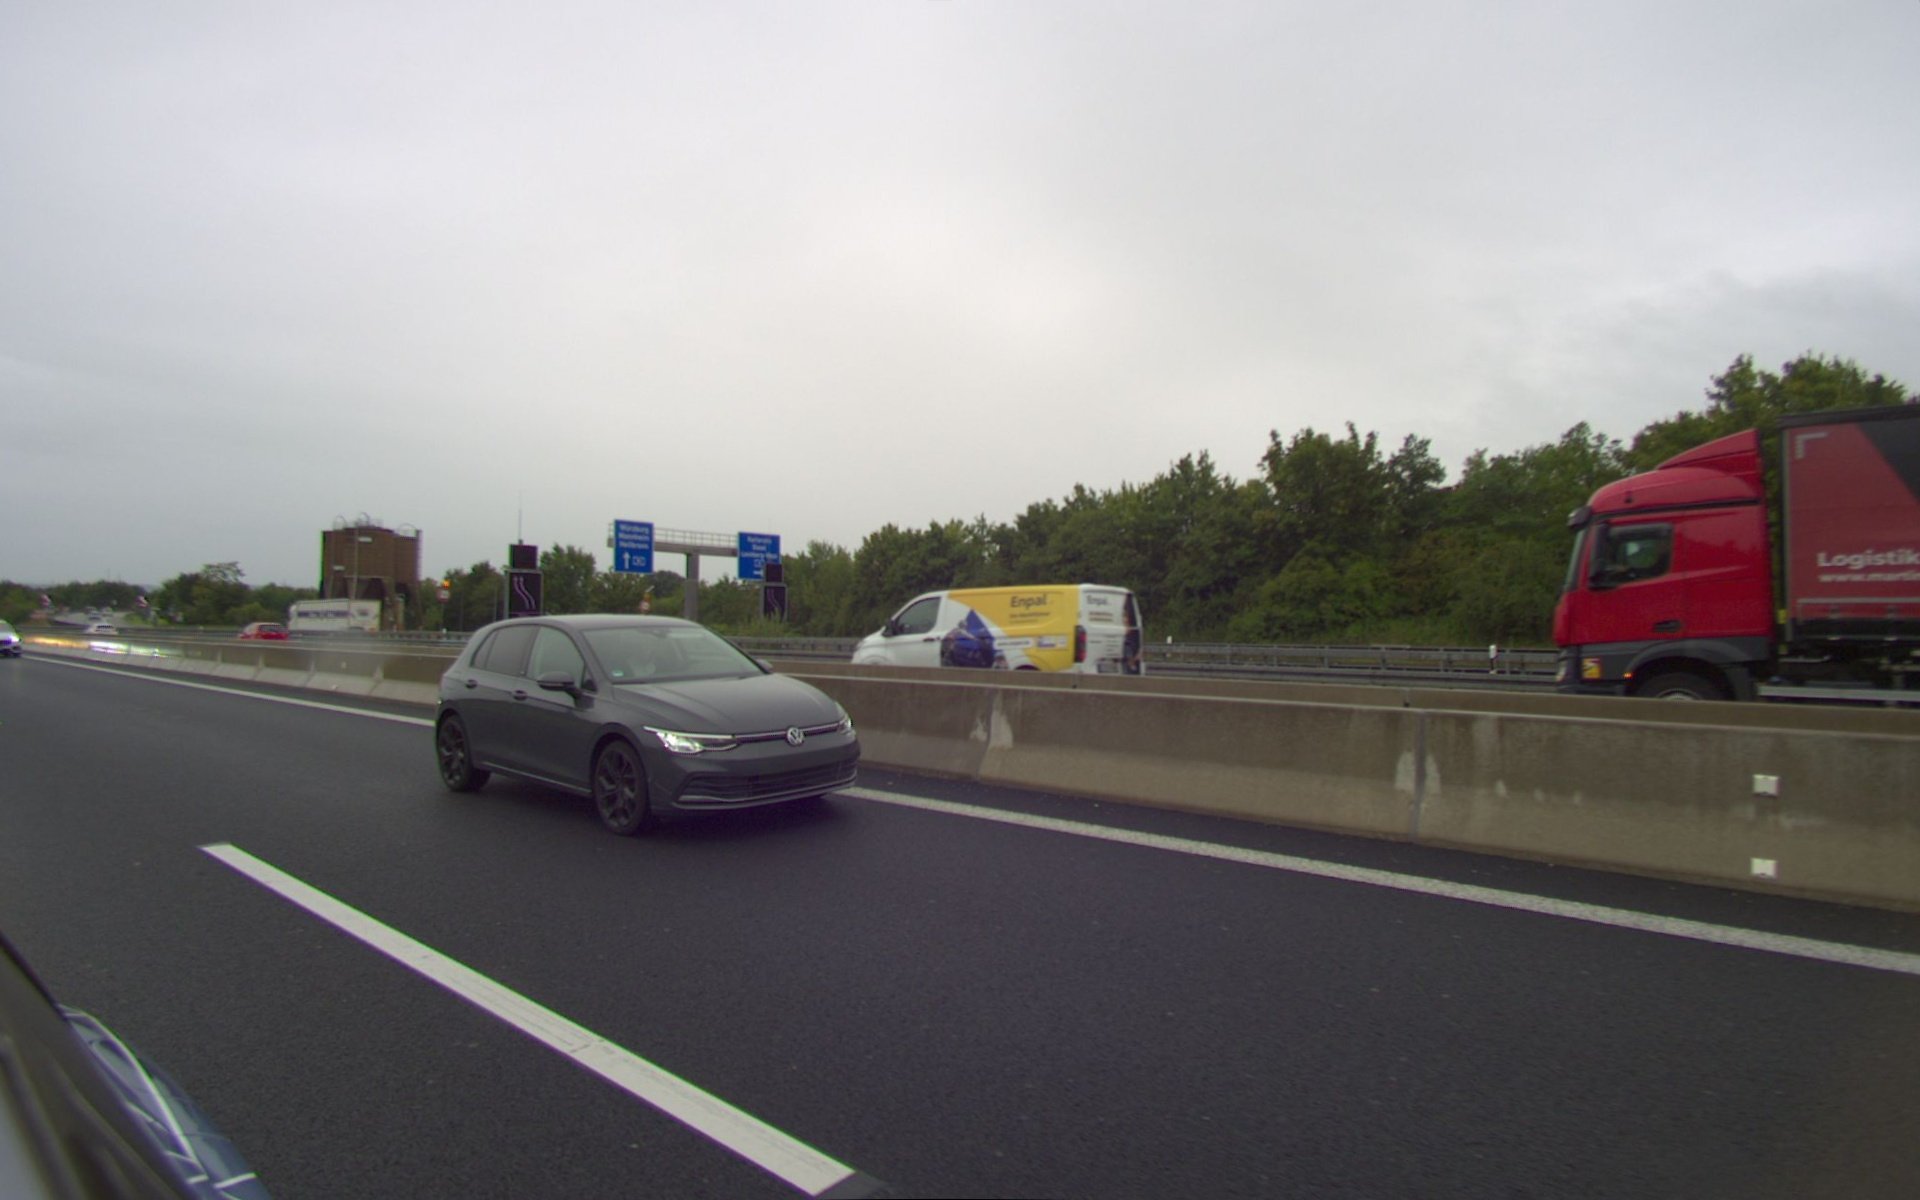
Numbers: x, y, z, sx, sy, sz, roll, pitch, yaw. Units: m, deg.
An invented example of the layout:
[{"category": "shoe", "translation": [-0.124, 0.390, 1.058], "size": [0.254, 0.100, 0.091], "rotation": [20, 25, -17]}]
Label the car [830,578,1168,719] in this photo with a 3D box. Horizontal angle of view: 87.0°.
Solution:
[{"category": "car", "translation": [0.464, 0.715, 15.902], "size": [5.217, 1.877, 1.973], "rotation": [-1, -3, 40]}]

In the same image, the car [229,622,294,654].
[{"category": "car", "translation": [-37.053, 1.995, 53.622], "size": [4.579, 1.564, 1.706], "rotation": [-1, 0, 40]}]

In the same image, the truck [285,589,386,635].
[{"category": "truck", "translation": [-57.831, 1.174, 93.344], "size": [17.128, 3.838, 3.144], "rotation": [-1, -3, 42]}]

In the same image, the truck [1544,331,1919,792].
[{"category": "truck", "translation": [12.420, -0.437, 10.526], "size": [10.481, 4.769, 3.364], "rotation": [-1, -1, 42]}]

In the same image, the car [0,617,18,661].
[{"category": "car", "translation": [-37.857, 1.489, 39.055], "size": [4.818, 1.603, 1.971], "rotation": [-1, -1, 44]}]

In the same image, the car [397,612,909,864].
[{"category": "car", "translation": [-2.607, 0.856, 7.968], "size": [4.365, 1.436, 1.811], "rotation": [-2, -1, 41]}]

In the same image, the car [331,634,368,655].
[{"category": "car", "translation": [-47.955, 3.437, 79.409], "size": [1.554, 1.495, 4.049], "rotation": [-1, 0, -45]}]

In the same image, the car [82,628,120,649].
[{"category": "car", "translation": [-73.070, 3.231, 86.068], "size": [4.314, 1.674, 1.972], "rotation": [-1, -2, 43]}]
